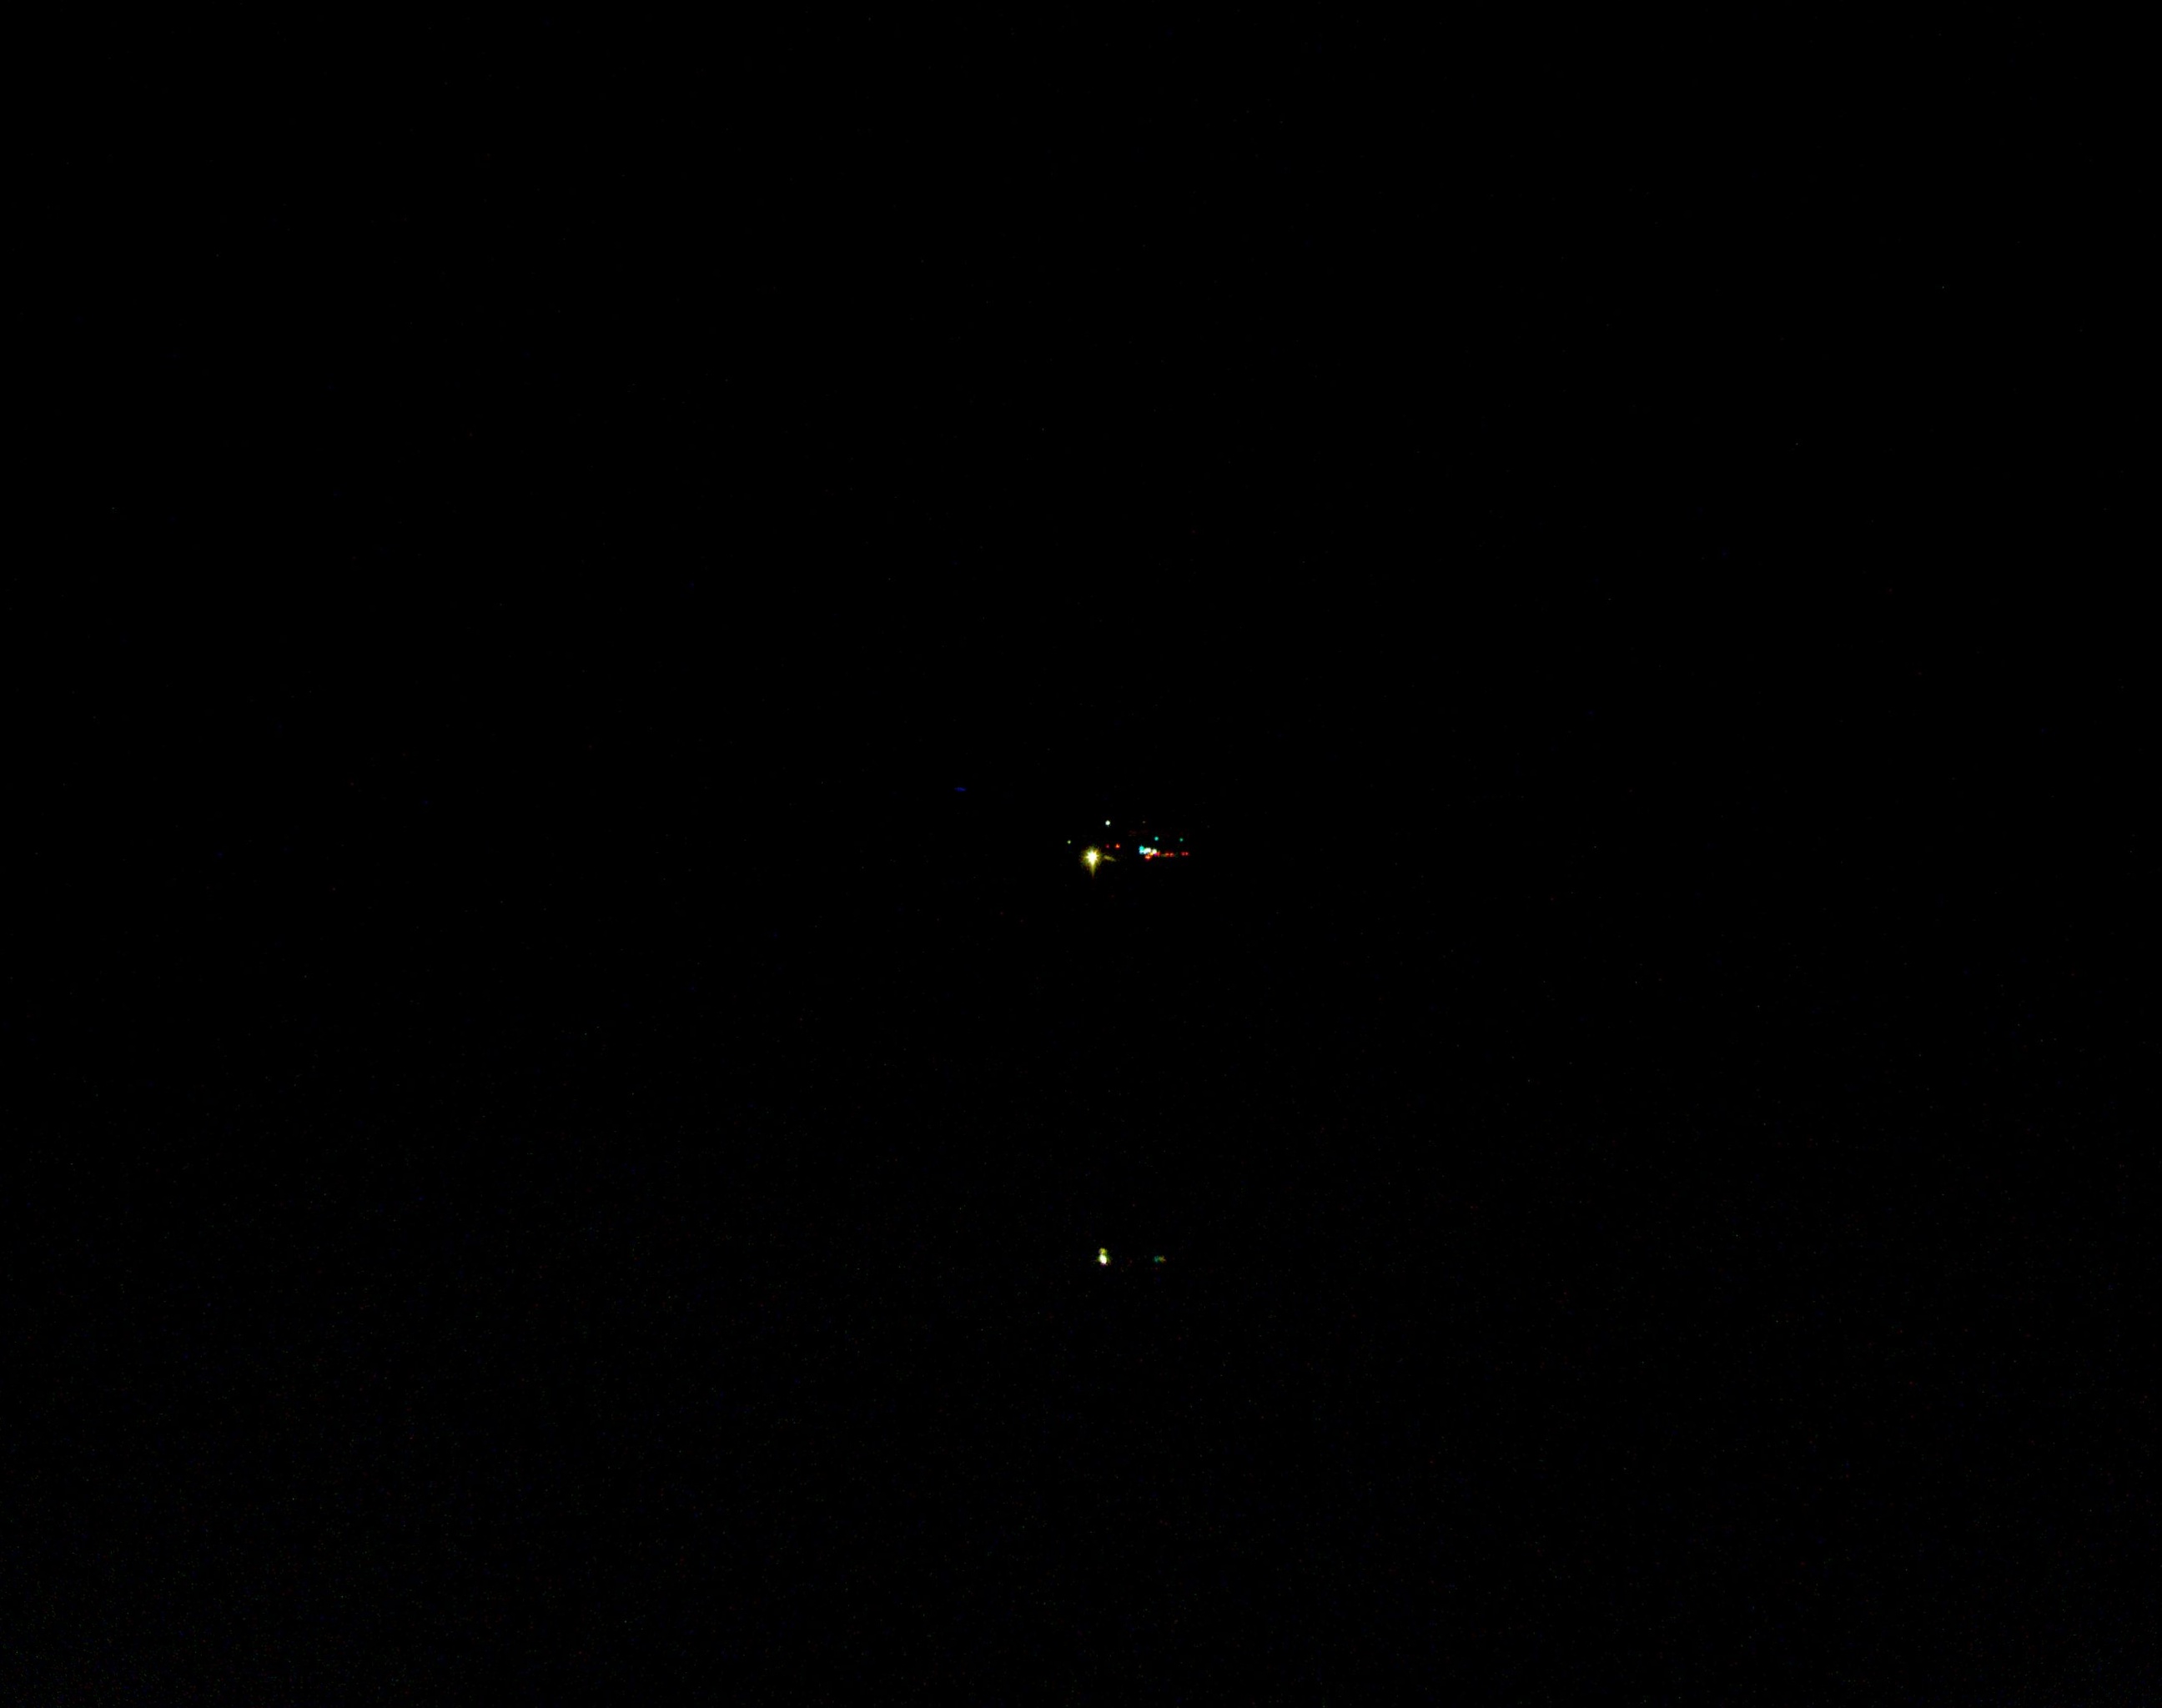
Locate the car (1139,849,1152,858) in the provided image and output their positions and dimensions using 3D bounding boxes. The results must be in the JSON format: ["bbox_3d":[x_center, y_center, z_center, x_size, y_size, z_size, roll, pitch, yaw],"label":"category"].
[{"bbox_3d":[10.552,-0.065,123.680,1.724,1.399,4.573,-2,1,1],"label":"car"}]

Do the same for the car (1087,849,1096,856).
[{"bbox_3d":[2.128,-0.331,148.693,1.570,1.336,4.167,-2,0,2],"label":"car"}]

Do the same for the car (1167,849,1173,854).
[{"bbox_3d":[28.243,-0.932,240.564,1.723,1.439,4.384,-2,1,10],"label":"car"}]

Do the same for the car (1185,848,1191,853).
[{"bbox_3d":[36.713,-1.139,260.832,1.655,1.467,4.002,-2,1,10],"label":"car"}]
